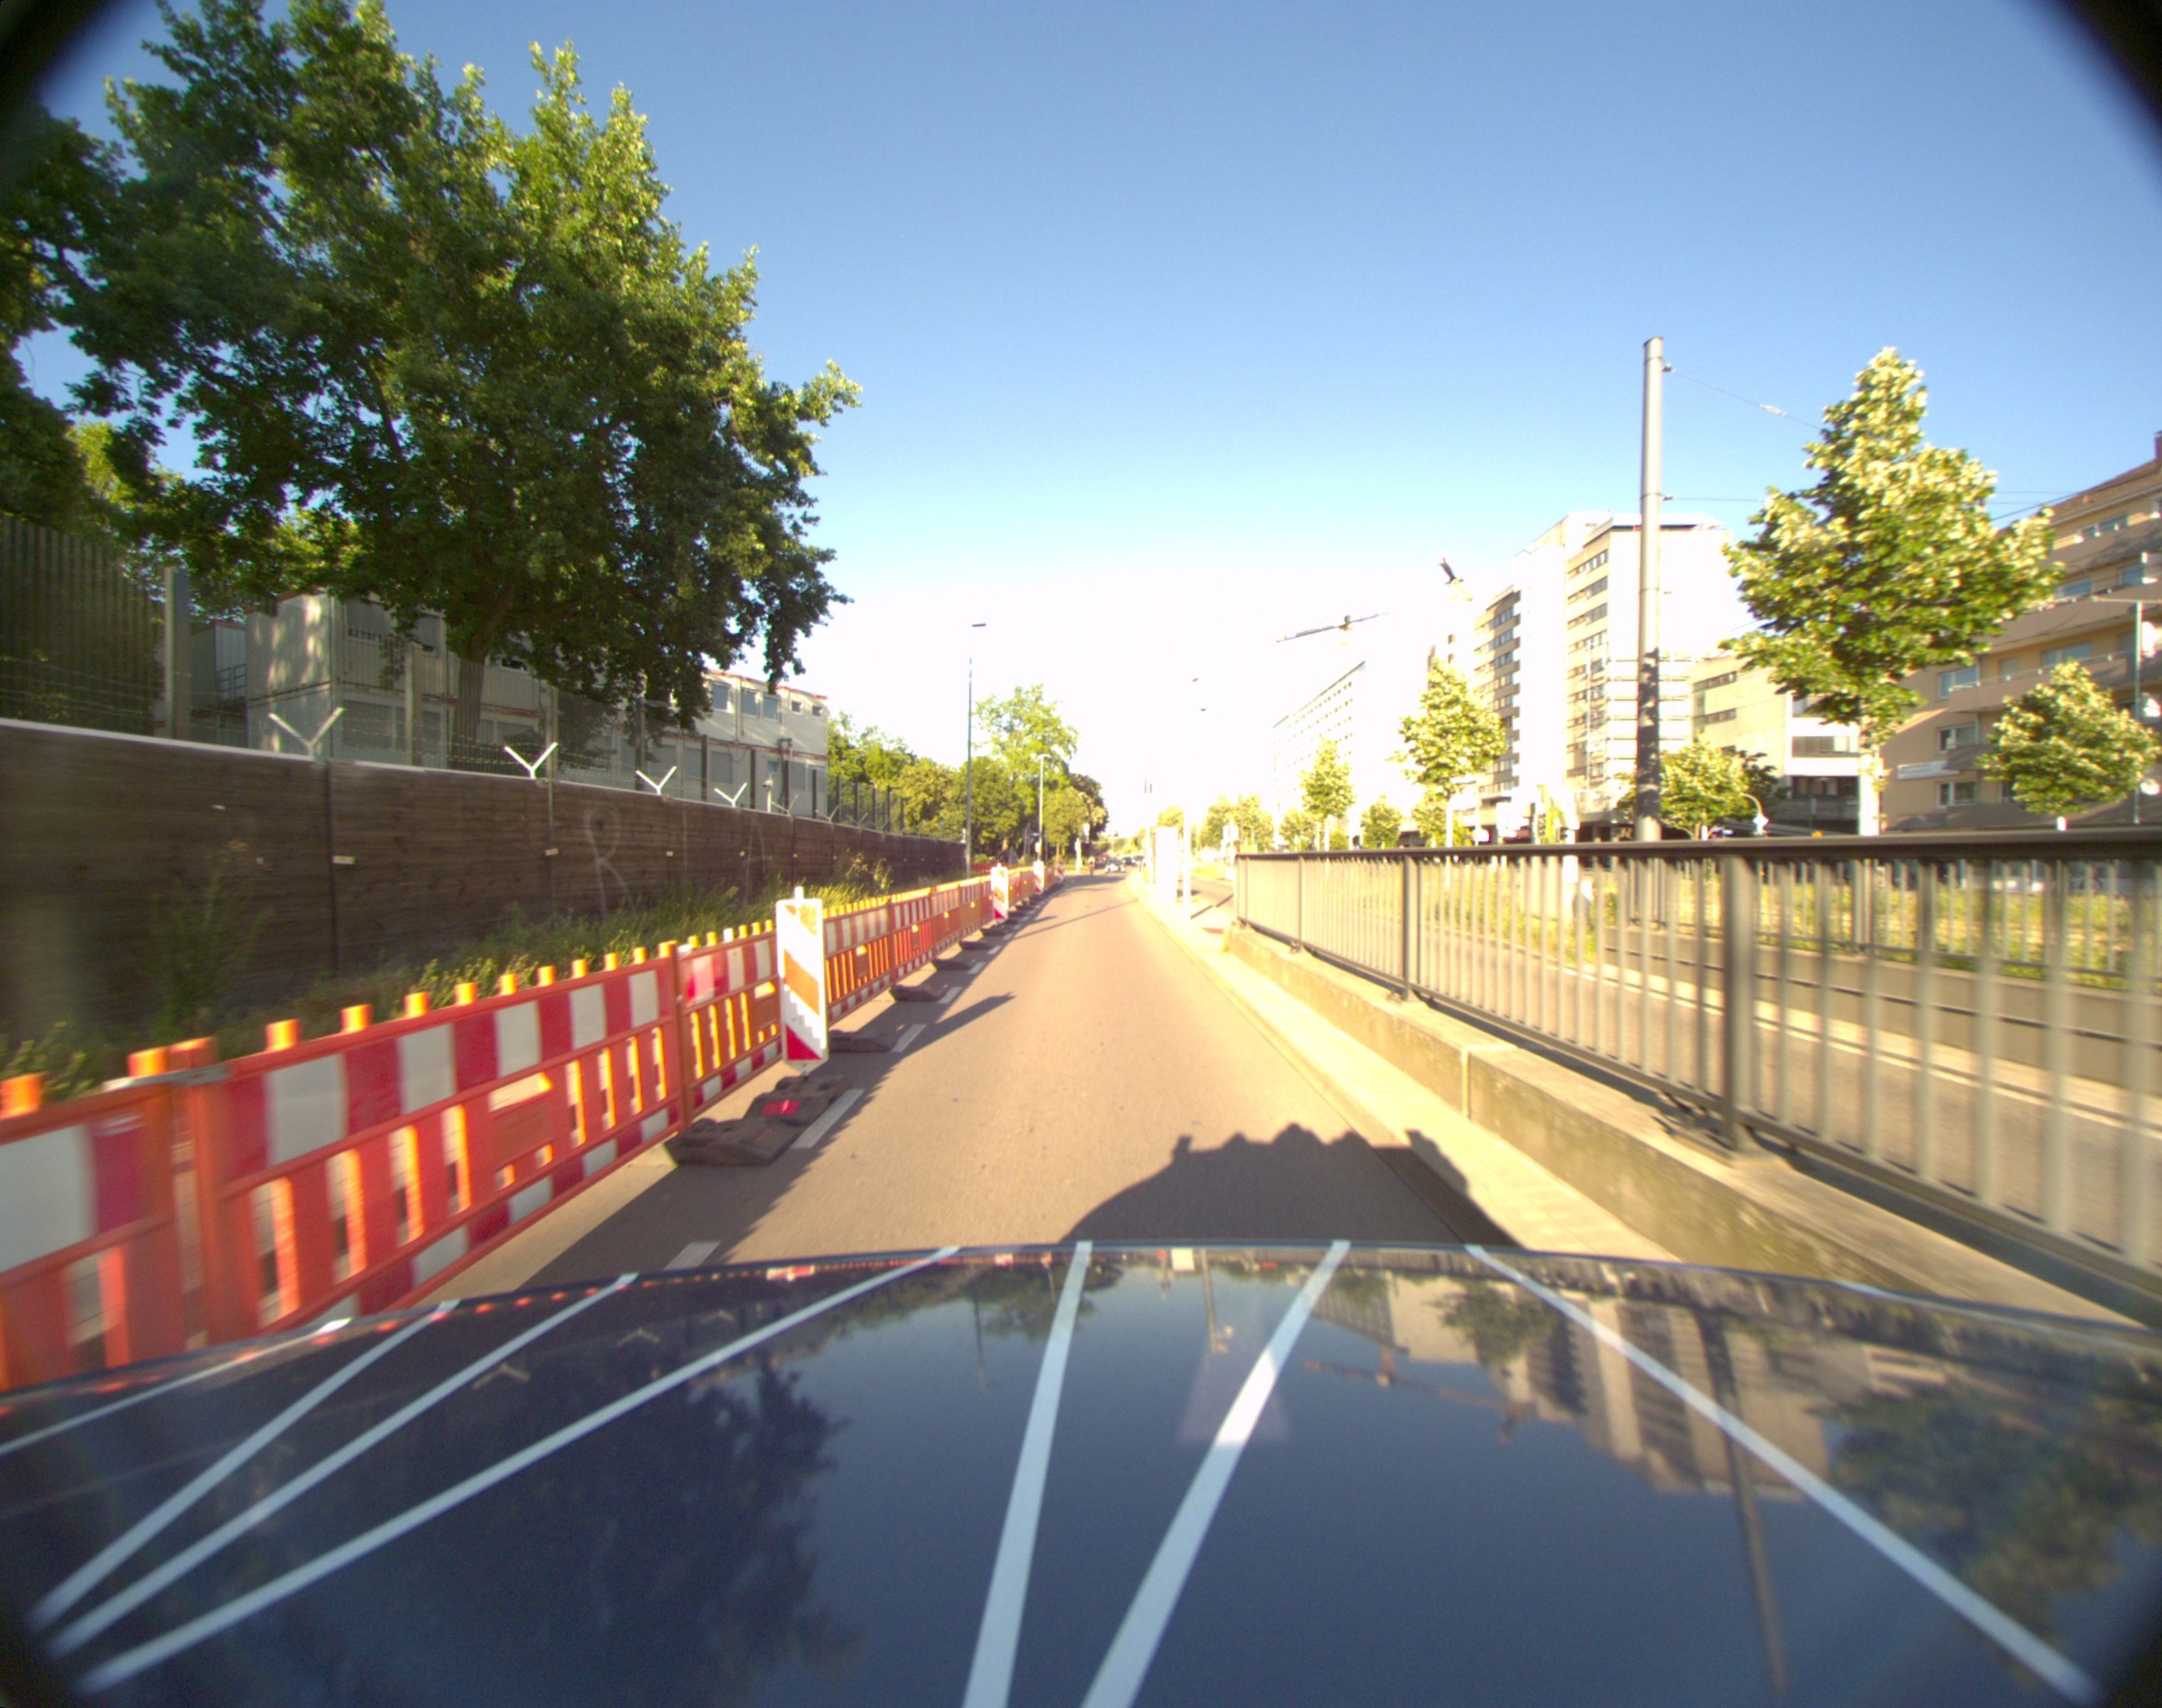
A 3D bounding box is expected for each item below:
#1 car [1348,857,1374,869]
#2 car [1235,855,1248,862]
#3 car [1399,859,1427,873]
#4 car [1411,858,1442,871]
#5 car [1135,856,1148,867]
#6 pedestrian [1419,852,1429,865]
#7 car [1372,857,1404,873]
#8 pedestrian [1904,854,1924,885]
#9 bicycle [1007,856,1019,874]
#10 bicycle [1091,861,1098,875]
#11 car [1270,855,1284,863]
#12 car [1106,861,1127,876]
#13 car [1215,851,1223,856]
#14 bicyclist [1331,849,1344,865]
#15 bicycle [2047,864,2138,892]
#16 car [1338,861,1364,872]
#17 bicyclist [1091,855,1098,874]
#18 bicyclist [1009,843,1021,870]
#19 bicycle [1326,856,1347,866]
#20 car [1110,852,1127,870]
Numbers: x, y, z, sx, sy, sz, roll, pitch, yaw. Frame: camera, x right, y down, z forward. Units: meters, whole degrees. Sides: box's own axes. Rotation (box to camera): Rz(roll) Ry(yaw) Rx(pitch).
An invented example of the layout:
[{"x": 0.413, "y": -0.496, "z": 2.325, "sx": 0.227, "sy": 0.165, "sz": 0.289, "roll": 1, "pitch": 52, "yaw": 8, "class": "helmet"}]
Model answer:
[{"x": 37.422, "y": 1.206, "z": 101.681, "sx": 3.800, "sy": 1.436, "sz": 1.617, "roll": -2, "pitch": 1, "yaw": -41, "class": "car"}, {"x": 32.968, "y": 0.943, "z": 156.464, "sx": 1.780, "sy": 1.455, "sz": 4.662, "roll": 0, "pitch": 0, "yaw": 1, "class": "car"}, {"x": 37.255, "y": 1.326, "z": 85.272, "sx": 3.473, "sy": 1.394, "sz": 1.617, "roll": -2, "pitch": 1, "yaw": -42, "class": "car"}, {"x": 36.051, "y": 1.112, "z": 79.311, "sx": 3.473, "sy": 1.266, "sz": 1.617, "roll": -2, "pitch": 1, "yaw": -42, "class": "car"}, {"x": 8.552, "y": 1.079, "z": 107.797, "sx": 1.591, "sy": 1.449, "sz": 4.001, "roll": 0, "pitch": 0, "yaw": 3, "class": "car"}, {"x": 42.431, "y": 0.519, "z": 94.003, "sx": 0.776, "sy": 1.630, "sz": 0.882, "roll": 0, "pitch": 1, "yaw": 1, "class": "pedestrian"}, {"x": 36.980, "y": 1.318, "z": 91.447, "sx": 4.204, "sy": 1.681, "sz": 1.617, "roll": -2, "pitch": 1, "yaw": -39, "class": "car"}, {"x": 42.067, "y": 0.777, "z": 38.374, "sx": 0.448, "sy": 1.546, "sz": 0.521, "roll": 0, "pitch": 1, "yaw": 1, "class": "pedestrian"}, {"x": -4.008, "y": 0.645, "z": 44.777, "sx": 0.428, "sy": 1.055, "sz": 1.911, "roll": 0, "pitch": 0, "yaw": 2, "class": "bicycle"}, {"x": 0.983, "y": 1.032, "z": 55.737, "sx": 0.505, "sy": 1.018, "sz": 1.505, "roll": 0, "pitch": 0, "yaw": 2, "class": "bicycle"}, {"x": 37.868, "y": 0.907, "z": 146.833, "sx": 1.874, "sy": 1.457, "sz": 3.390, "roll": -2, "pitch": 1, "yaw": 2, "class": "car"}, {"x": 3.334, "y": 1.390, "z": 72.100, "sx": 1.998, "sy": 1.346, "sz": 4.000, "roll": 0, "pitch": 0, "yaw": 2, "class": "car"}, {"x": 42.584, "y": -0.191, "z": 234.303, "sx": 1.874, "sy": 1.579, "sz": 4.639, "roll": -2, "pitch": 1, "yaw": 2, "class": "car"}, {"x": 22.695, "y": 0.283, "z": 67.240, "sx": 0.737, "sy": 1.386, "sz": 0.715, "roll": 0, "pitch": 1, "yaw": -23, "class": "bicyclist"}, {"x": 43.723, "y": 1.024, "z": 32.897, "sx": 0.532, "sy": 1.130, "sz": 2.586, "roll": 0, "pitch": 0, "yaw": 2, "class": "bicycle"}, {"x": 37.168, "y": 1.730, "z": 104.534, "sx": 3.809, "sy": 1.436, "sz": 1.785, "roll": -2, "pitch": 1, "yaw": -43, "class": "car"}, {"x": 0.986, "y": 0.764, "z": 55.791, "sx": 0.516, "sy": 1.399, "sz": 0.805, "roll": 0, "pitch": 1, "yaw": 1, "class": "bicyclist"}, {"x": -3.905, "y": 0.138, "z": 44.856, "sx": 0.585, "sy": 1.605, "sz": 0.903, "roll": 0, "pitch": 1, "yaw": 2, "class": "bicyclist"}, {"x": 22.708, "y": 0.645, "z": 67.569, "sx": 0.507, "sy": 0.886, "sz": 2.027, "roll": 0, "pitch": 0, "yaw": -22, "class": "bicycle"}, {"x": 3.573, "y": 0.660, "z": 72.947, "sx": 1.591, "sy": 1.674, "sz": 4.001, "roll": 0, "pitch": 0, "yaw": 3, "class": "car"}]
